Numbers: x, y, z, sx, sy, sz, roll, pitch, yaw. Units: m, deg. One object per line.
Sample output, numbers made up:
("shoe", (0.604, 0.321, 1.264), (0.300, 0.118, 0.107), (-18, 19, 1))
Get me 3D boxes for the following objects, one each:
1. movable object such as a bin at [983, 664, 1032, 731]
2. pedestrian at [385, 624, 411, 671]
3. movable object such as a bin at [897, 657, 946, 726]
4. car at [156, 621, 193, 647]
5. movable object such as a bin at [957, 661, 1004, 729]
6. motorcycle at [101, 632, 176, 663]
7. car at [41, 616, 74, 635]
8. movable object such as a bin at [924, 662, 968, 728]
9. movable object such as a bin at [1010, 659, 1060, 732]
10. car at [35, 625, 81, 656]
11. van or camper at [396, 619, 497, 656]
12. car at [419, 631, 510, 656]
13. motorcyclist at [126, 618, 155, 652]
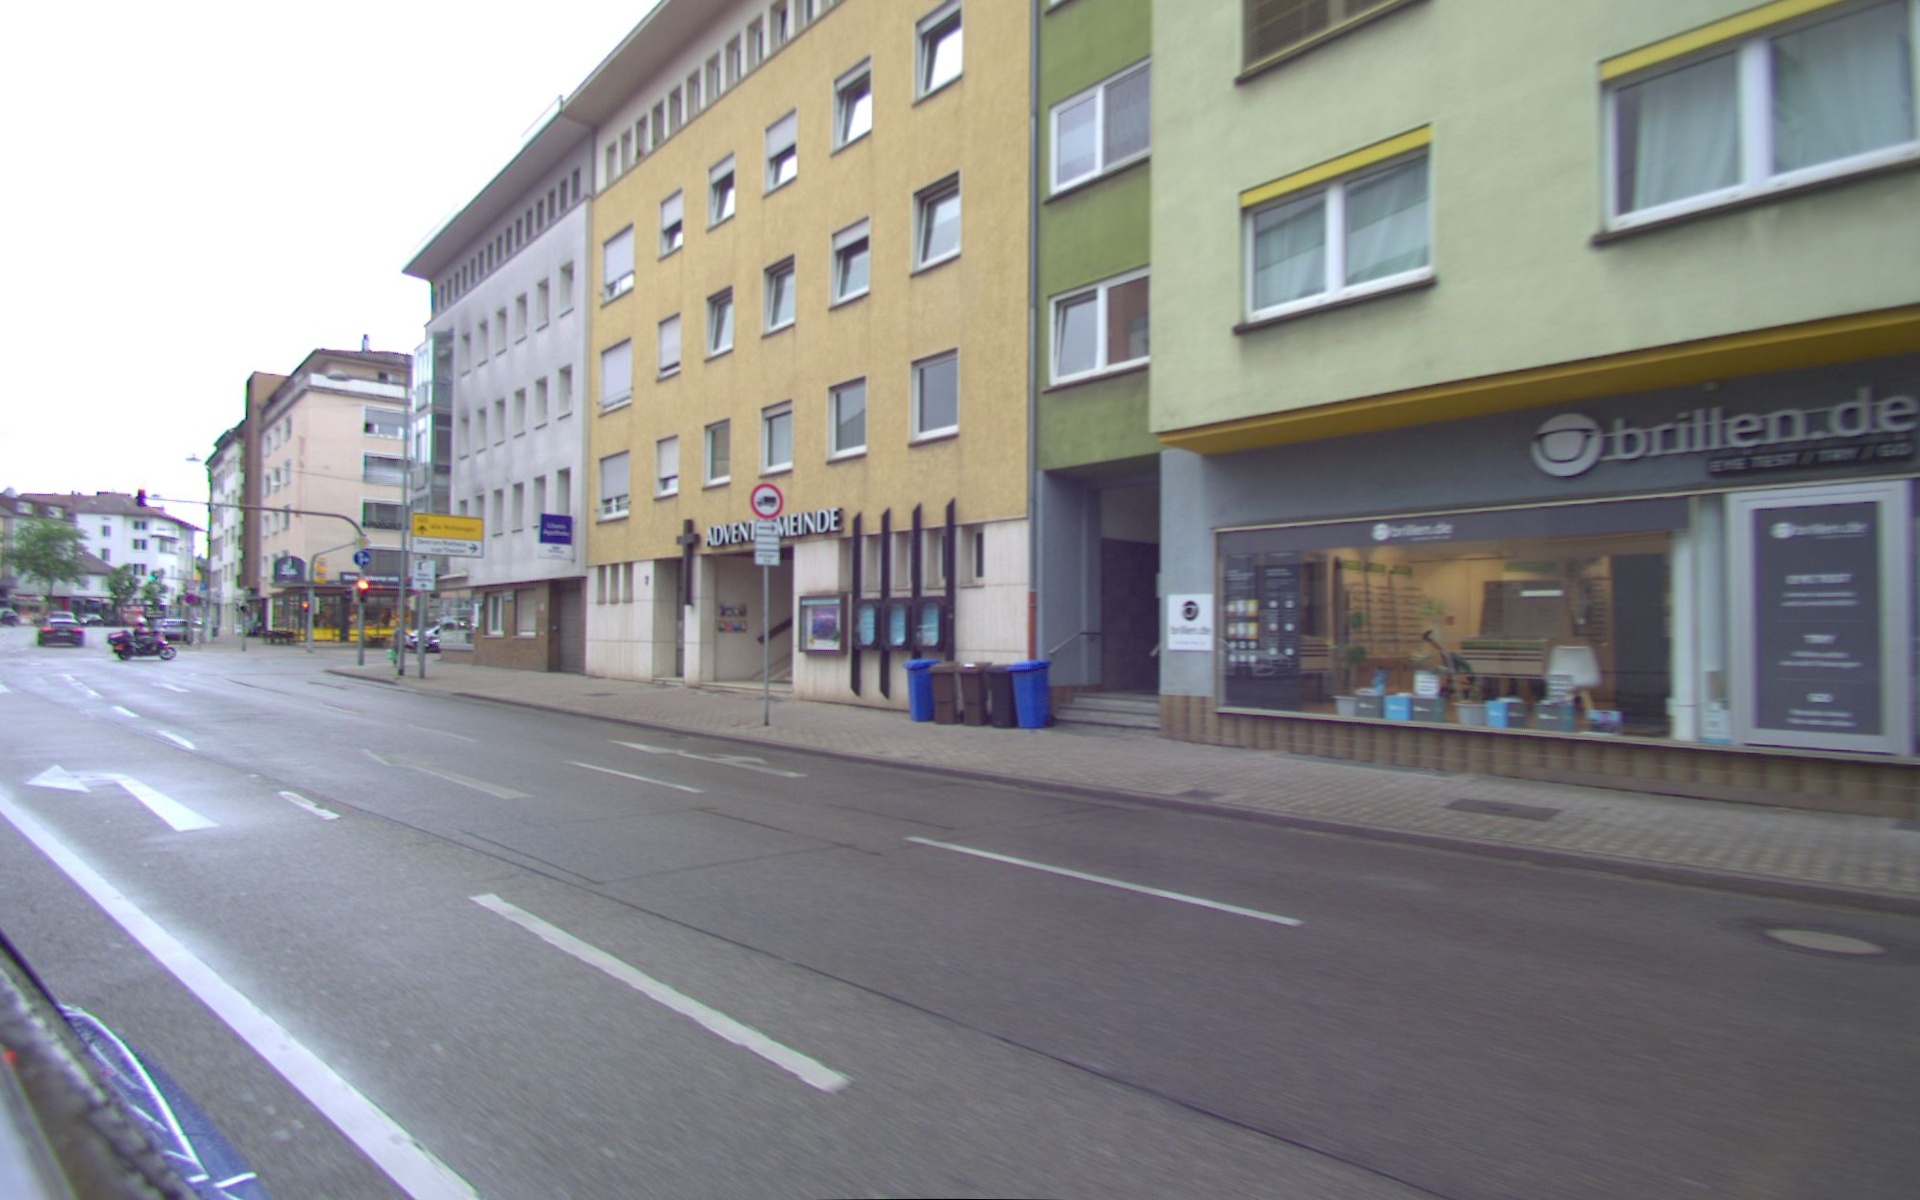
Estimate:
("movable object such as a bin", (0.696, 1.414, 14.826), (0.522, 0.902, 0.435), (-3, 1, -42))
("pedestrian", (-19.613, 1.658, 35.324), (0.773, 1.600, 0.675), (-1, -1, -29))
("movable object such as a bin", (-0.606, 1.423, 15.941), (0.510, 1.008, 0.524), (-3, 1, -42))
("car", (-51.081, 2.231, 65.775), (1.807, 1.634, 4.007), (2, -2, -39))
("movable object such as a bin", (0.311, 1.410, 15.168), (0.521, 0.935, 0.426), (-3, 1, -42))
("motorcycle", (-32.294, 1.864, 39.820), (2.257, 1.172, 0.775), (2, -3, -40))
("car", (-71.978, 2.035, 80.722), (1.567, 1.539, 3.496), (2, -2, -36))
("movable object such as a bin", (-0.207, 1.434, 15.362), (0.458, 0.935, 0.429), (-3, 1, -42))
("movable object such as a bin", (1.076, 1.355, 14.519), (0.522, 0.968, 0.435), (-3, 1, -42))
("car", (-48.579, 2.139, 54.521), (1.723, 1.608, 4.005), (2, -3, -42))
("van or camper", (-30.448, 2.219, 60.119), (4.953, 2.029, 2.002), (2, -1, -43))
("car", (-26.897, 2.328, 54.988), (1.842, 1.300, 4.041), (-1, -2, 42))
("motorcyclist", (-32.253, 1.367, 39.830), (0.859, 1.337, 0.493), (2, -3, -41))
